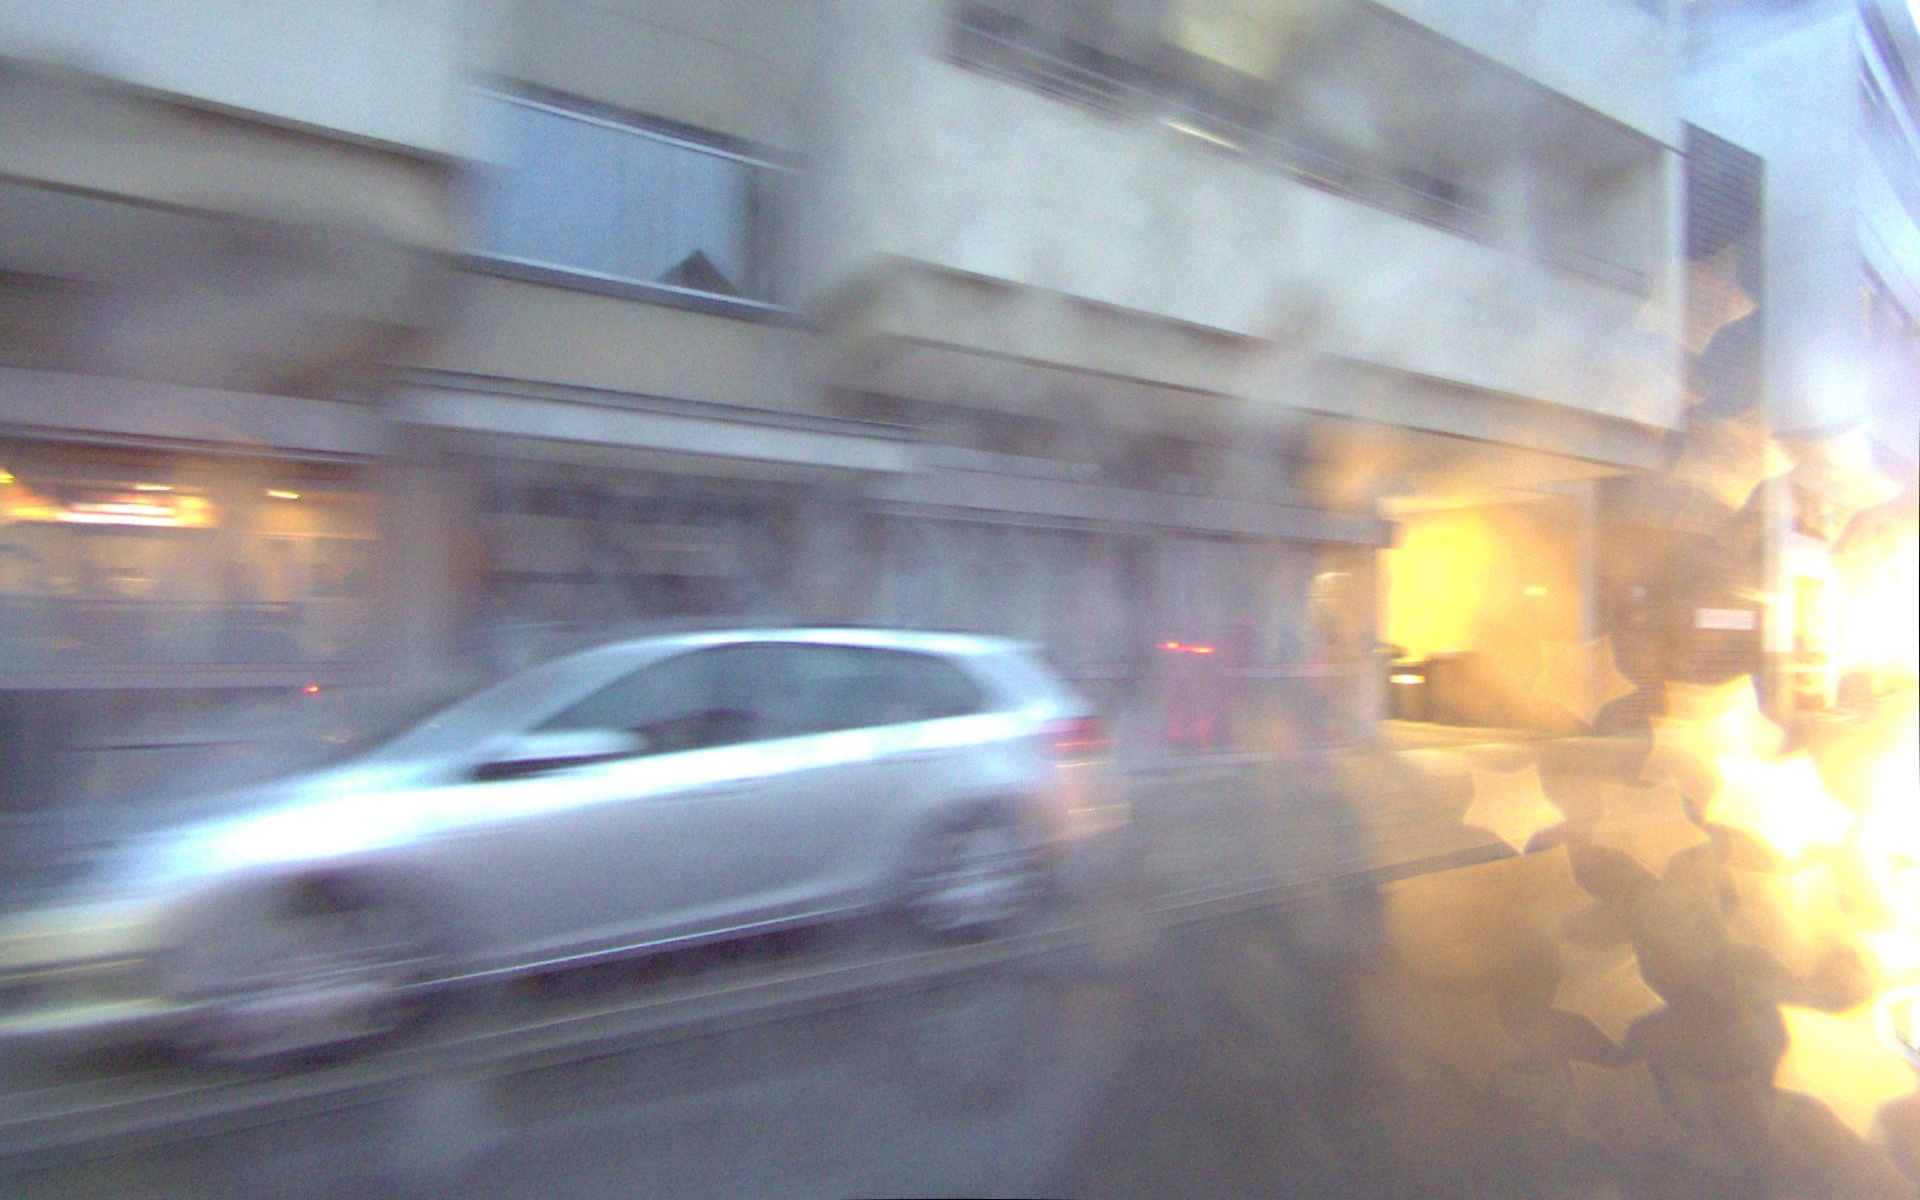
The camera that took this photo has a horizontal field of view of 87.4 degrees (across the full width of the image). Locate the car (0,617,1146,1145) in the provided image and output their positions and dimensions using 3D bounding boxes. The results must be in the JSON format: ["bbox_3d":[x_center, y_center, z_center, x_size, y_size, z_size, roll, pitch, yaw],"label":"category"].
[{"bbox_3d":[-1.347,0.850,4.718,4.378,1.466,1.666,1,1,-31],"label":"car"}]
